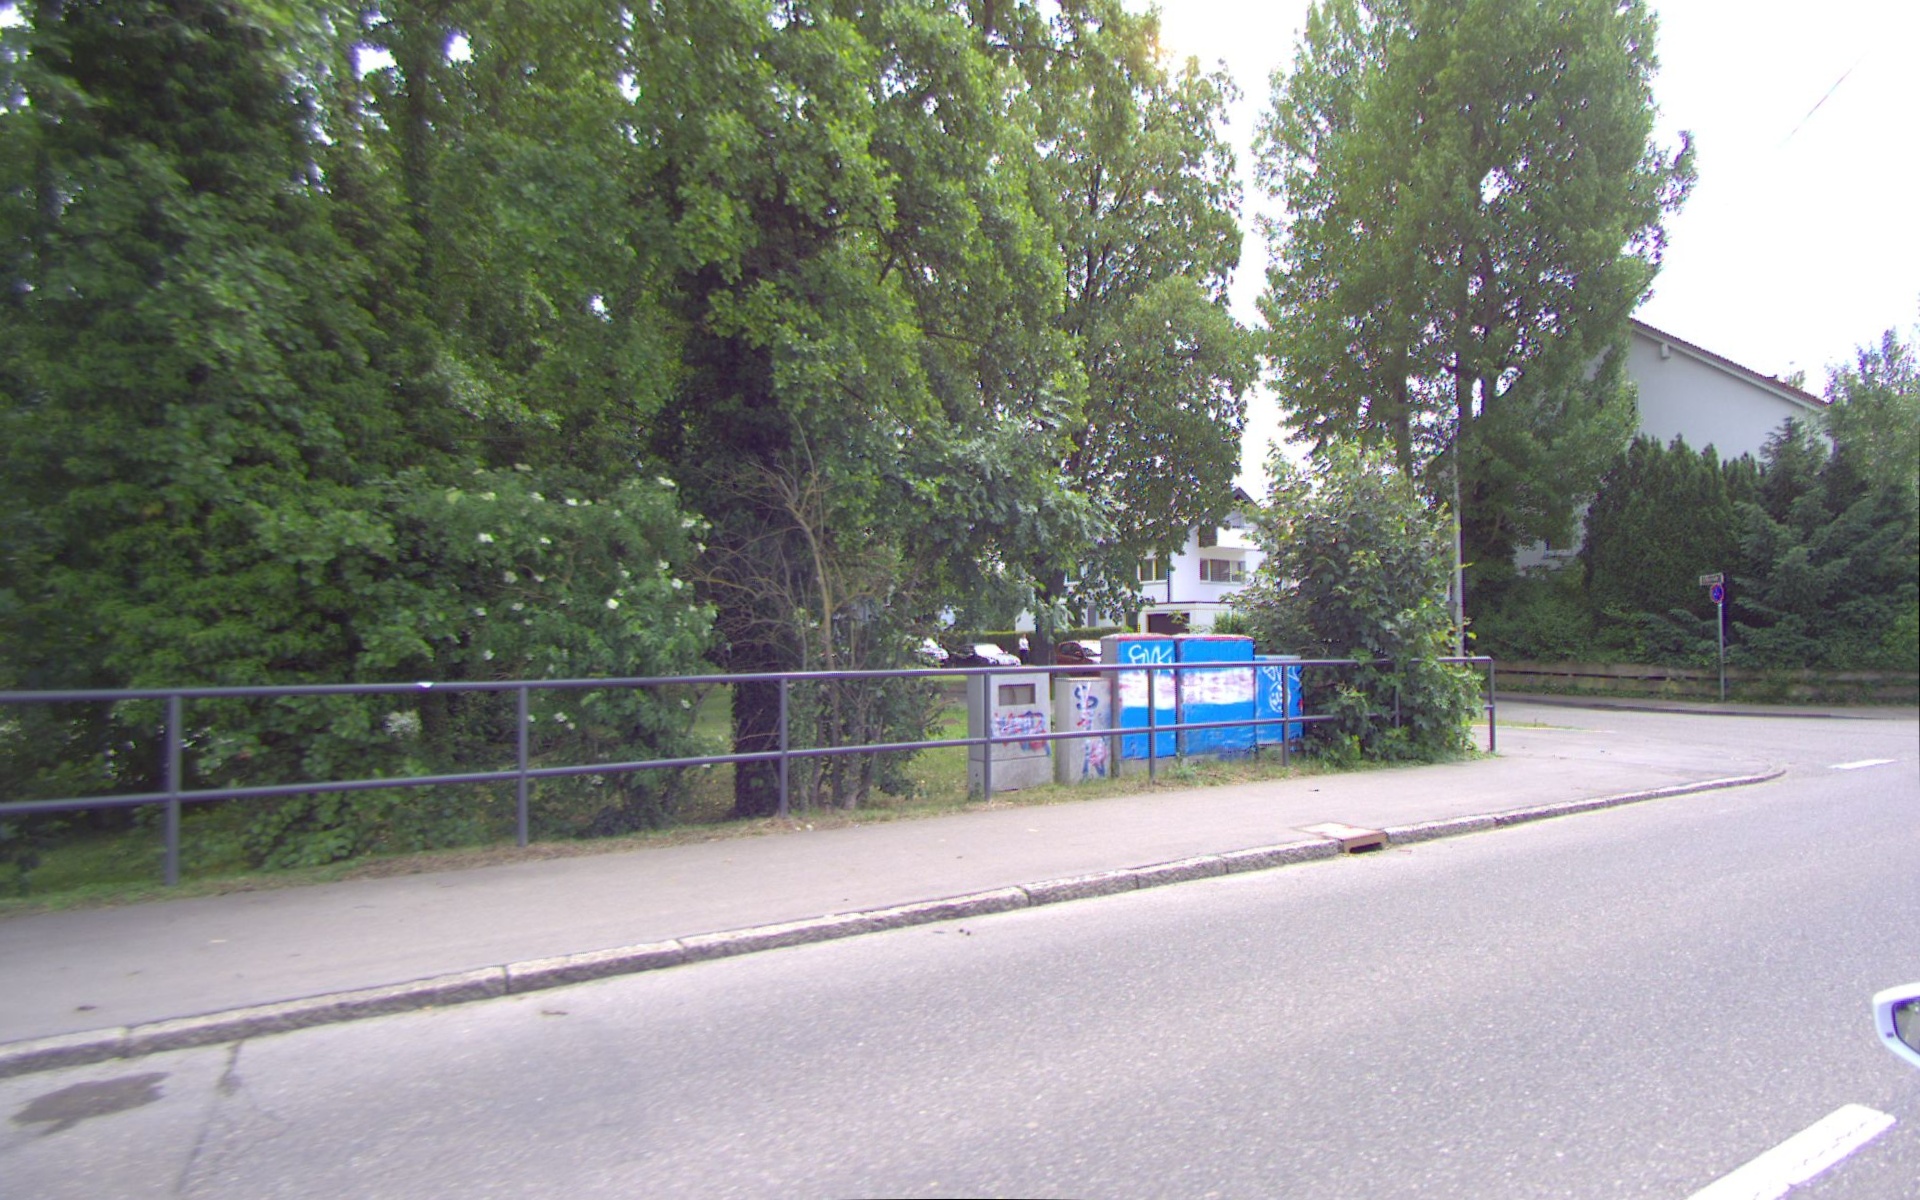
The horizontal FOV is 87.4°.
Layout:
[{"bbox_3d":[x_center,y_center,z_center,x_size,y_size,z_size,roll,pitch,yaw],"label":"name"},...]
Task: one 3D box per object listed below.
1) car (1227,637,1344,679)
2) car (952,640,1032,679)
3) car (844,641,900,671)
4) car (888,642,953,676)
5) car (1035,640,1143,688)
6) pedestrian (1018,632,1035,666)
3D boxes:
[{"bbox_3d":[12.283,2.187,37.897,3.942,1.406,1.833,-1,-3,-23],"label":"car"},{"bbox_3d":[1.302,2.463,42.419,1.928,1.499,3.978,1,-2,-23],"label":"car"},{"bbox_3d":[-4.800,2.996,54.261,1.928,1.499,3.978,1,-2,-23],"label":"car"},{"bbox_3d":[-1.980,2.837,48.884,1.928,1.499,3.978,1,-2,-23],"label":"car"},{"bbox_3d":[4.390,2.154,34.734,1.929,1.499,3.976,1,-2,-24],"label":"car"},{"bbox_3d":[3.390,2.503,51.367,0.678,1.694,0.608,1,-1,-18],"label":"pedestrian"}]
